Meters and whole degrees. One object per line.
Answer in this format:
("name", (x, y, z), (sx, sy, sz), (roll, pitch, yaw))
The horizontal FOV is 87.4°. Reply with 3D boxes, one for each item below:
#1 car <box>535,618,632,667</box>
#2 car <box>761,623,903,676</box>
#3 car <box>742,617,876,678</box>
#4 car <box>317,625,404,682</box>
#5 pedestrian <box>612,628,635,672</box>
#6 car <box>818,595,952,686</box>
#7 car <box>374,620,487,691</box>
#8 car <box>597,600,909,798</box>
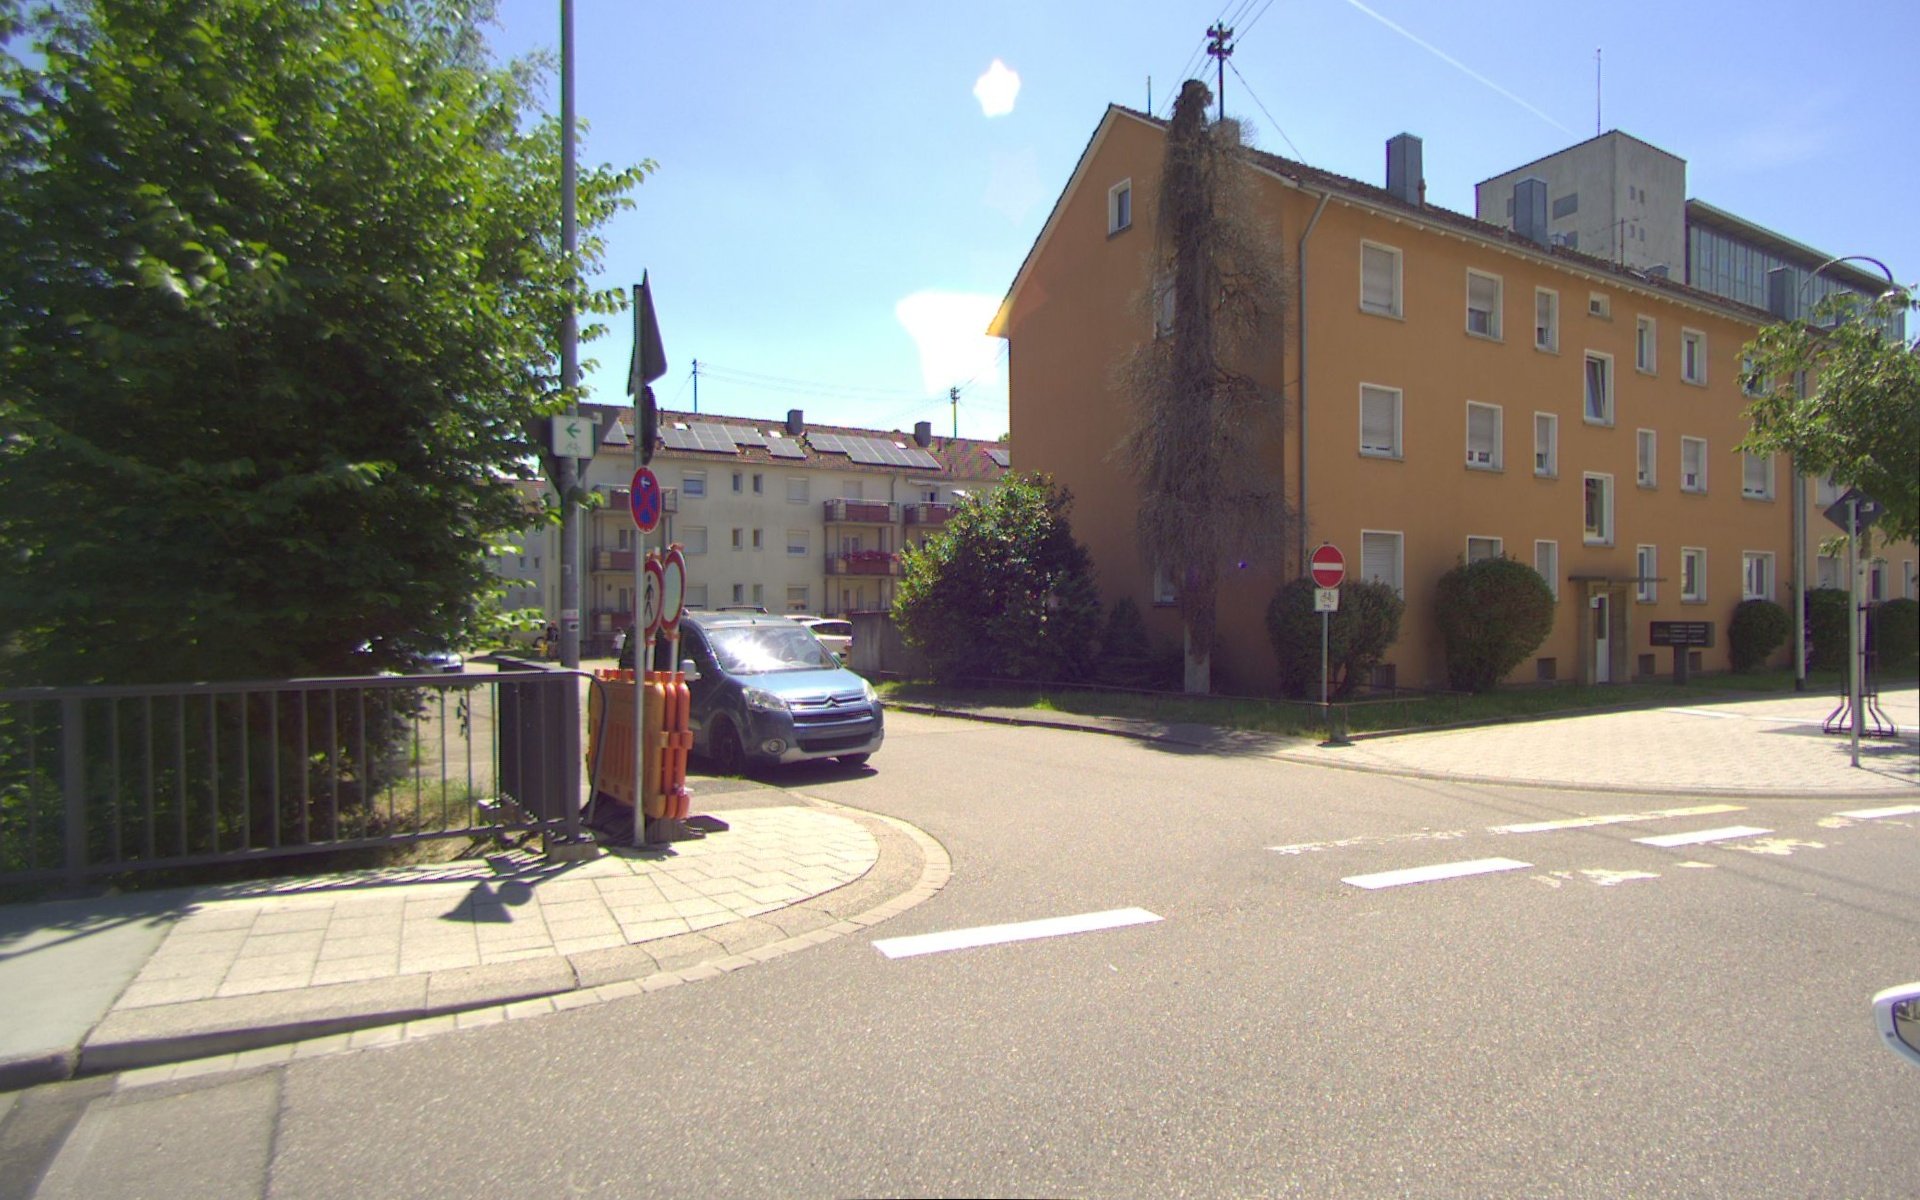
("car", (-15.505, 1.717, 41.416), (3.508, 1.812, 1.546), (-1, 0, -31))
("car", (-3.955, 1.495, 31.273), (3.961, 1.523, 1.980), (1, -2, -36))
("car", (-4.989, 1.513, 33.310), (3.958, 1.840, 1.981), (0, 0, -34))
("car", (-20.800, 1.796, 34.763), (1.983, 1.825, 4.388), (1, -2, -39))
("pedestrian", (-11.925, 1.759, 35.577), (0.686, 1.531, 0.727), (0, 0, -28))
("car", (-1.944, 0.980, 24.778), (1.973, 2.040, 3.975), (0, -2, -25))
("car", (-14.836, 1.487, 28.031), (1.983, 1.825, 4.388), (1, -2, -39))
("car", (-2.635, 1.014, 11.930), (1.804, 1.899, 4.388), (0, -2, -39))
